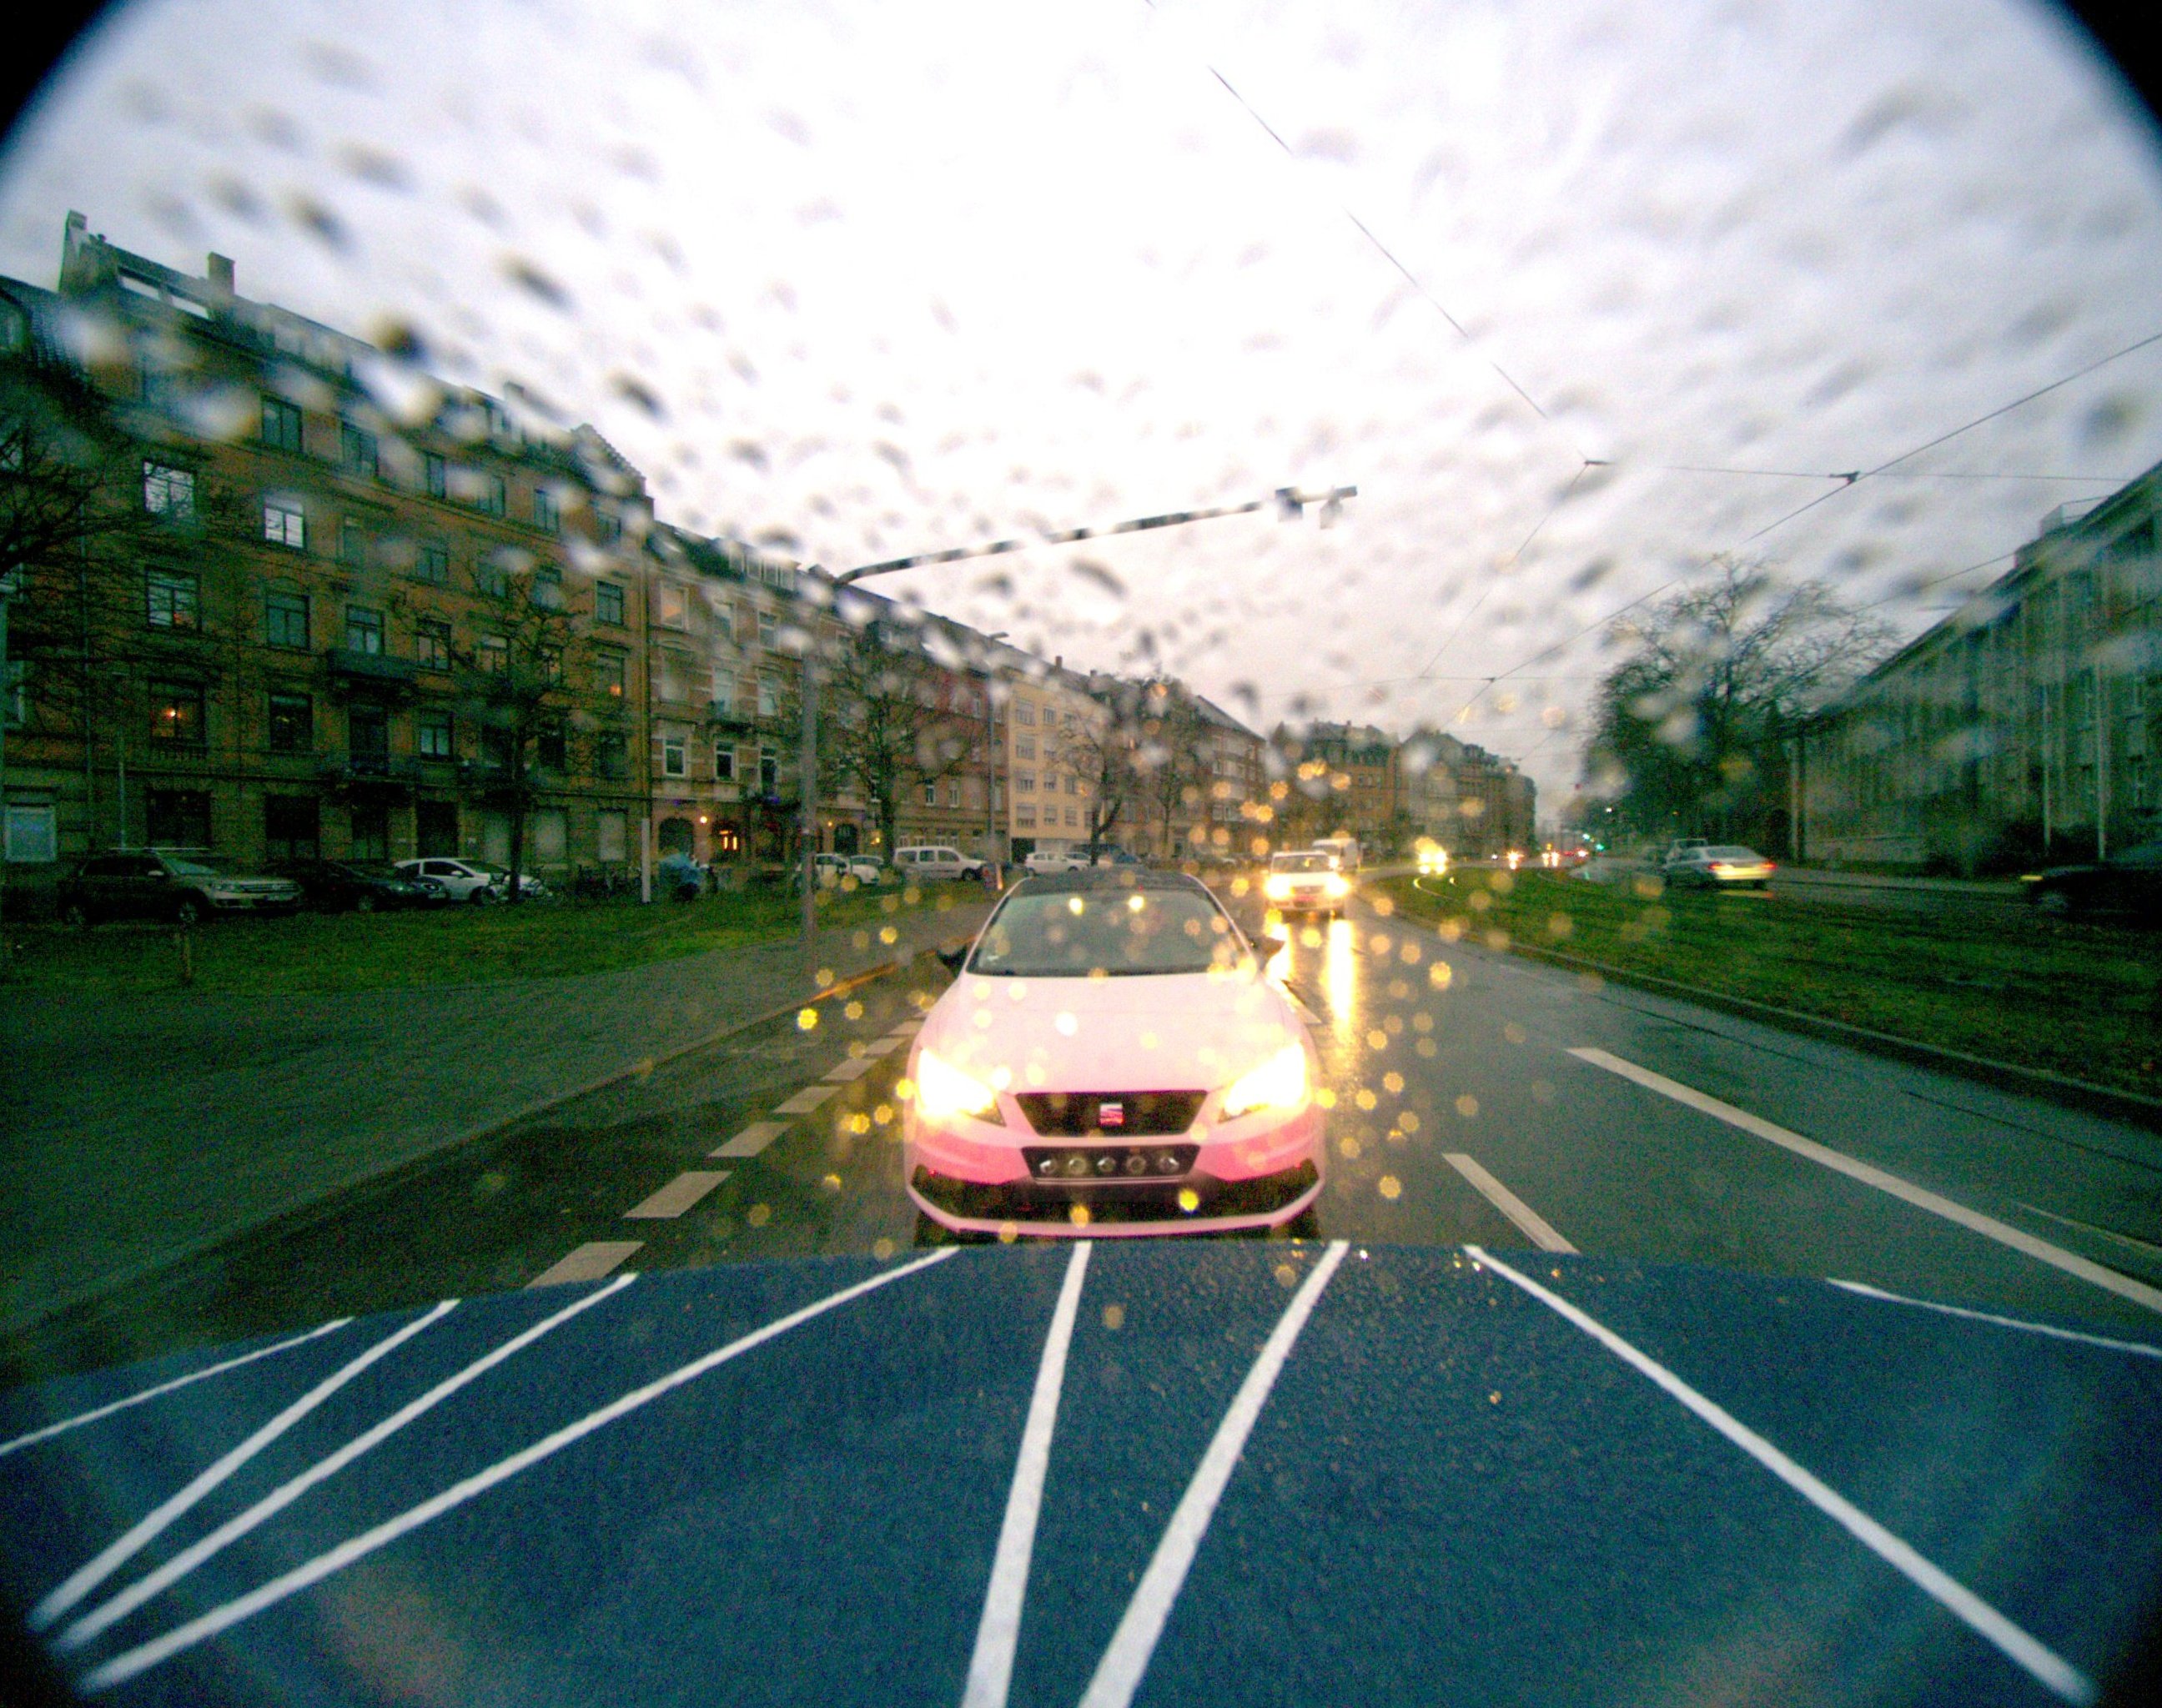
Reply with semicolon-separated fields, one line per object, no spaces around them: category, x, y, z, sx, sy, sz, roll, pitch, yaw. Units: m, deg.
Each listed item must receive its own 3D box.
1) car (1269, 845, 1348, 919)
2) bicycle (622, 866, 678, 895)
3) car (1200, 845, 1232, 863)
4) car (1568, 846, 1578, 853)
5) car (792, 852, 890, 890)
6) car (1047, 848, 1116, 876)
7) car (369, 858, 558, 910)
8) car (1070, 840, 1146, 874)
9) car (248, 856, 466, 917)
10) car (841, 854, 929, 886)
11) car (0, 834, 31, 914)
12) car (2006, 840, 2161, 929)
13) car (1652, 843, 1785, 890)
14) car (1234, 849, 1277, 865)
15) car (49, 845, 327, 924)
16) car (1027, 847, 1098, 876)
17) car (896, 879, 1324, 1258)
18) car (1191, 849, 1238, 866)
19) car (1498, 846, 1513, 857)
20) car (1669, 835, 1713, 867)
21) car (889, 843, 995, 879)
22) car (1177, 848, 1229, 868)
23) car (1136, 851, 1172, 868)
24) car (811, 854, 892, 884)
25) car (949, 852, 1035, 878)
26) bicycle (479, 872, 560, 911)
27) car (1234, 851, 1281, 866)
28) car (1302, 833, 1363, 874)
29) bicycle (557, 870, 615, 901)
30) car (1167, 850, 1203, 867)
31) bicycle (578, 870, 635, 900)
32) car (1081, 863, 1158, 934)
car;5.745;0.642;19.578;1.672;1.650;4.152;-3;0;14
bicycle;-15.006;0.912;26.425;2.165;0.960;0.627;0;1;28
car;14.277;0.022;80.314;1.670;1.693;3.472;-3;0;40
car;142.550;-1.355;220.171;1.948;1.804;4.008;0;1;43
car;-9.980;0.702;31.729;3.462;1.435;1.615;-2;0;6
car;0.012;0.467;45.845;3.998;1.406;1.641;-3;0;-2
car;-17.121;0.810;21.201;3.856;1.329;1.698;-1;0;-1
car;1.683;0.187;48.577;4.720;1.971;1.799;-2;0;-2
car;-17.916;0.782;18.934;3.742;1.346;1.677;-2;-1;-2
car;-8.767;0.703;34.169;3.430;1.343;1.664;-2;0;2
car;-29.124;0.516;17.901;1.994;2.002;4.997;1;1;32
car;18.444;0.487;12.326;1.660;1.392;4.525;-3;0;7
car;22.167;0.395;26.683;1.823;1.426;4.661;-3;0;16
car;15.919;0.277;69.389;3.760;1.346;1.603;-3;0;11
car;-19.561;0.617;16.771;3.996;1.627;1.944;0;1;4
car;-1.027;0.435;43.696;3.770;1.424;1.762;-3;0;9
car;0.207;0.965;5.008;1.714;1.404;3.680;-3;0;3
car;10.976;0.298;62.294;3.760;1.325;1.603;-1;1;11
car;62.820;-0.328;112.488;1.719;1.608;3.946;-1;0;32
car;41.924;-0.229;52.307;1.995;2.002;4.518;-3;0;35
car;-6.627;0.317;36.496;4.659;1.583;1.778;1;1;3
car;9.575;0.307;59.802;3.869;1.397;1.695;-3;0;6
car;6.815;0.462;70.553;1.470;1.534;3.880;0;1;38
car;-12.611;0.794;41.996;1.733;1.492;4.058;-3;-1;32
car;-4.500;0.555;38.768;4.058;1.227;1.771;1;0;6
bicycle;-14.422;0.946;19.573;1.655;0.931;0.513;0;0;-35
car;15.246;0.372;65.633;3.762;1.271;1.602;-1;0;5
car;16.197;-0.076;48.684;2.125;2.366;5.649;-3;0;34
bicycle;-16.154;1.042;24.798;2.165;0.960;0.627;-2;-2;28
car;10.431;0.438;75.970;1.690;1.534;4.008;-3;0;38
bicycle;-15.874;1.060;25.412;2.165;0.960;0.627;-2;-2;28
car;0.912;0.945;17.399;1.589;1.418;3.135;-1;0;4
